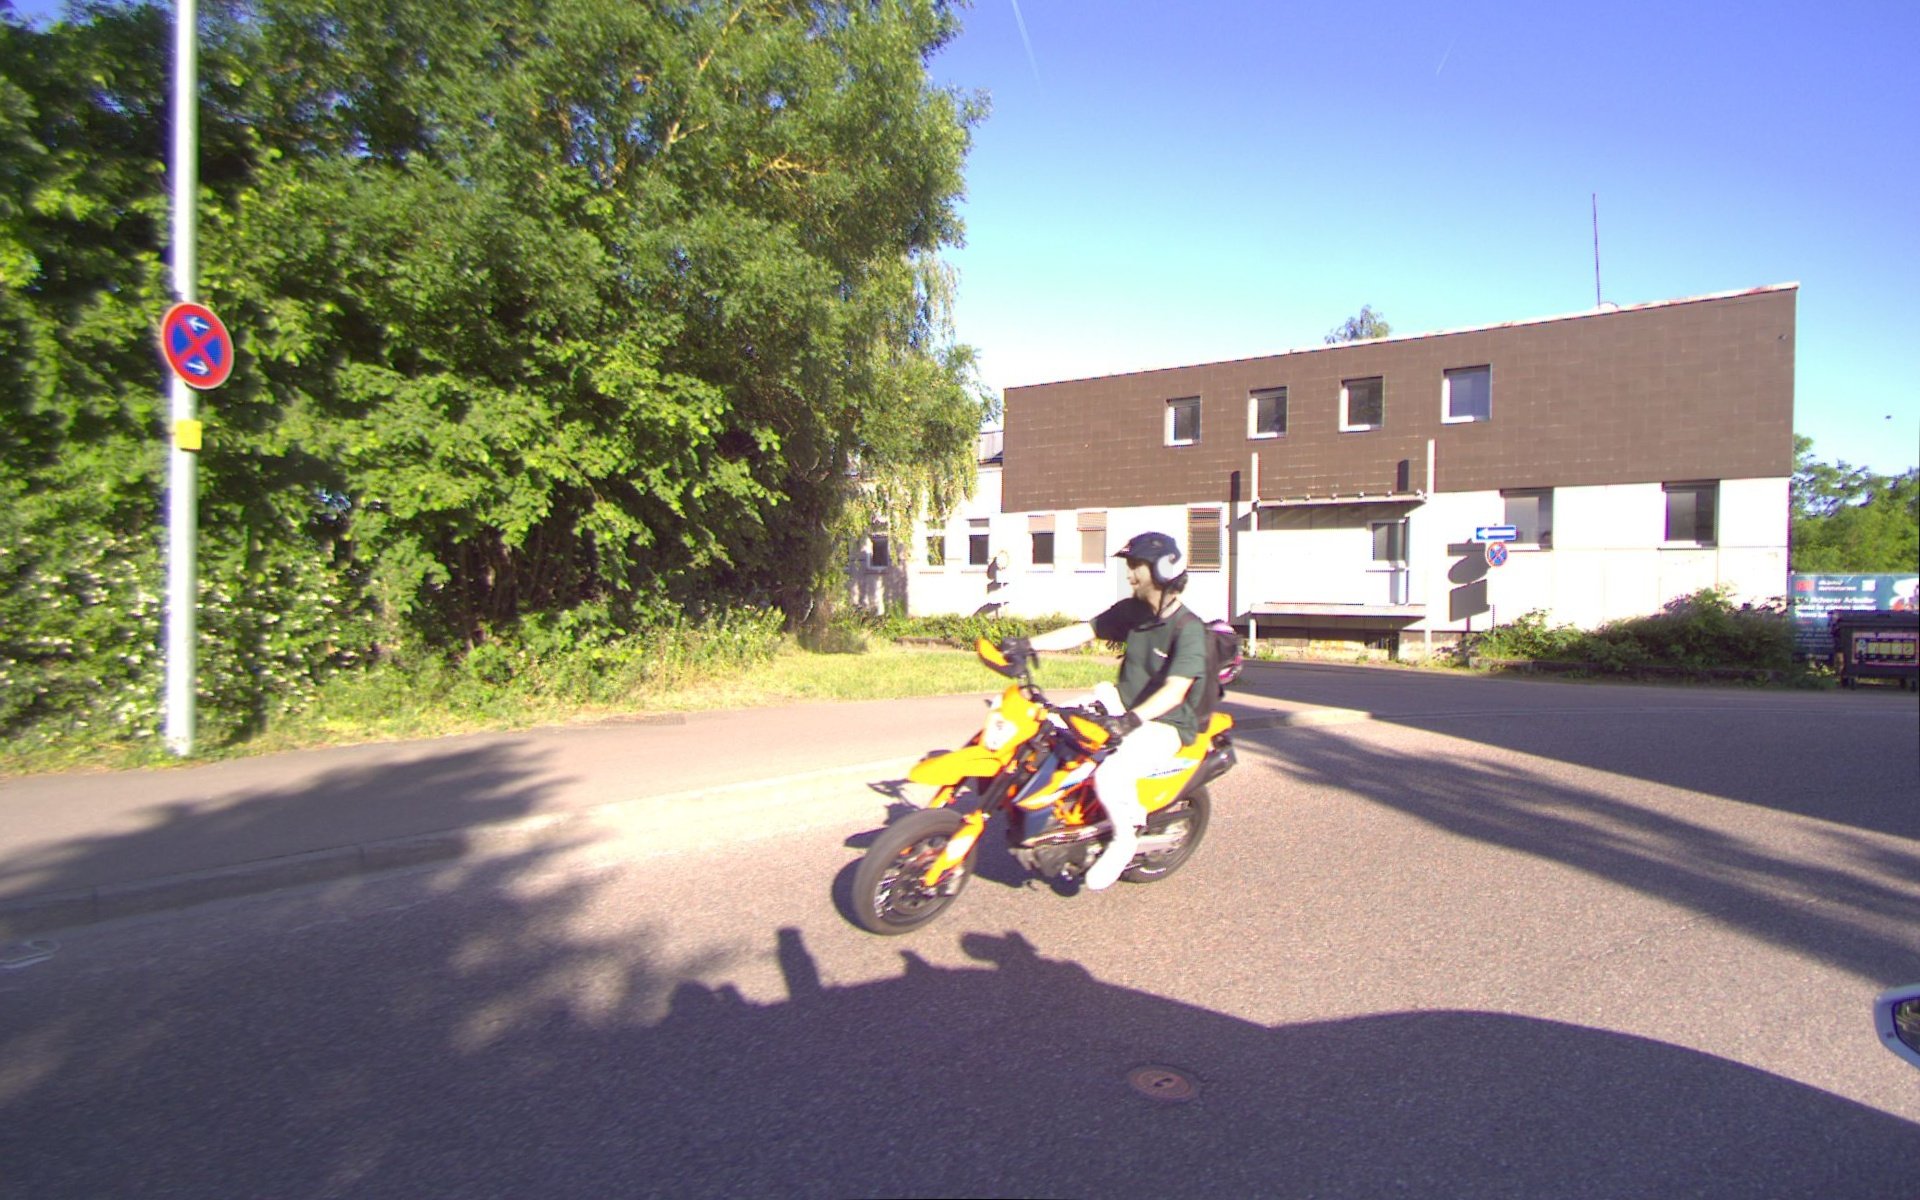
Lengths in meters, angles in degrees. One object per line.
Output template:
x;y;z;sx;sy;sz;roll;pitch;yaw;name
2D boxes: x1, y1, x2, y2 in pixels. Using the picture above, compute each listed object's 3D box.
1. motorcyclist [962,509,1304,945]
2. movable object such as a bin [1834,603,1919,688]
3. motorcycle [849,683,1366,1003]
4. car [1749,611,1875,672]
0.757;0.482;4.448;1.228;1.633;0.859;1;0;-31;motorcyclist
17.022;0.816;18.415;1.266;1.491;1.362;0;0;30;movable object such as a bin
0.717;0.924;4.456;2.274;0.985;0.828;1;0;-32;motorcycle
24.709;1.143;29.310;1.963;1.639;3.994;0;0;28;car
